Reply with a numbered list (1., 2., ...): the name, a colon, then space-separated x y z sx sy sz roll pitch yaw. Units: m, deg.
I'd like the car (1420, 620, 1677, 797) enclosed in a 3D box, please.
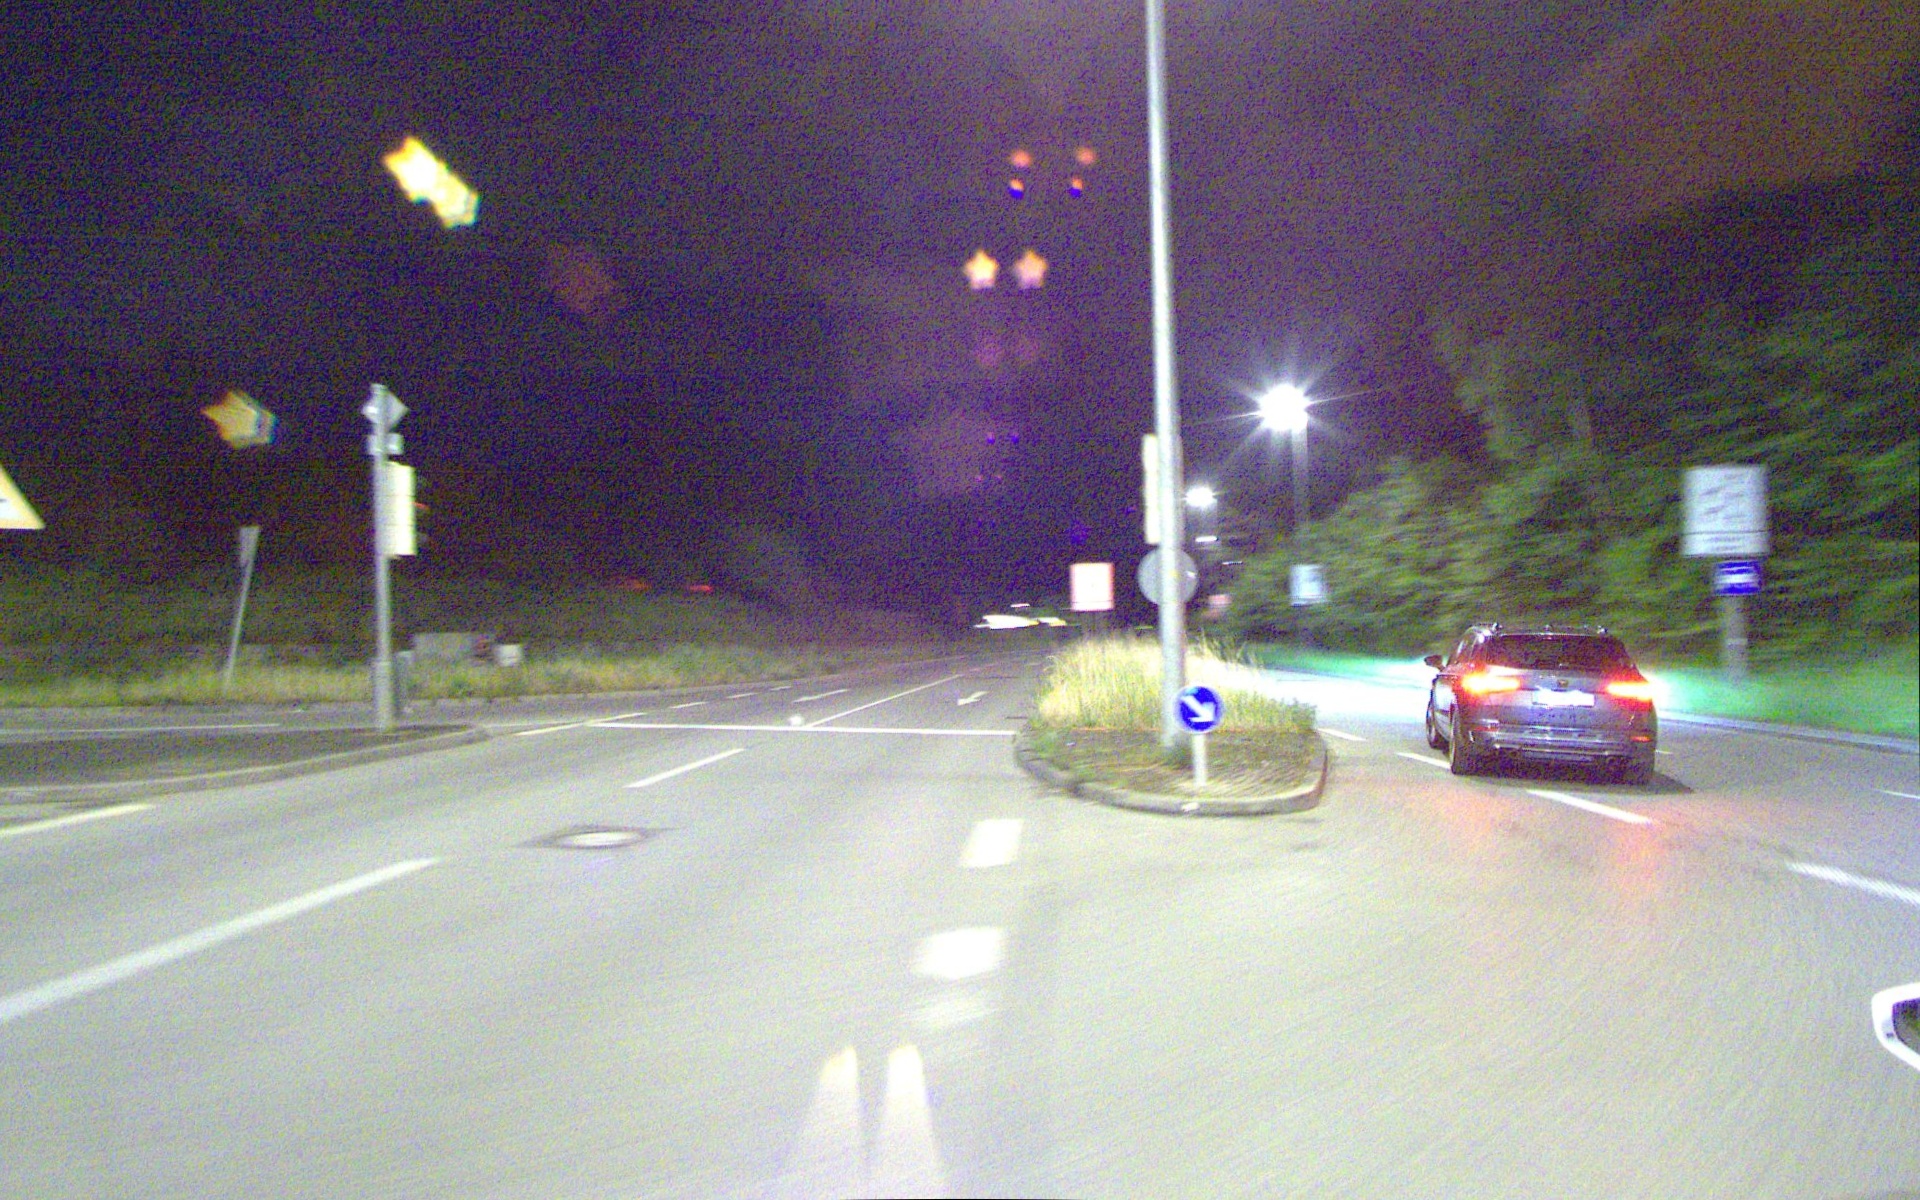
1. car: 6.362 1.057 11.350 1.821 1.603 4.007 0 -2 20
